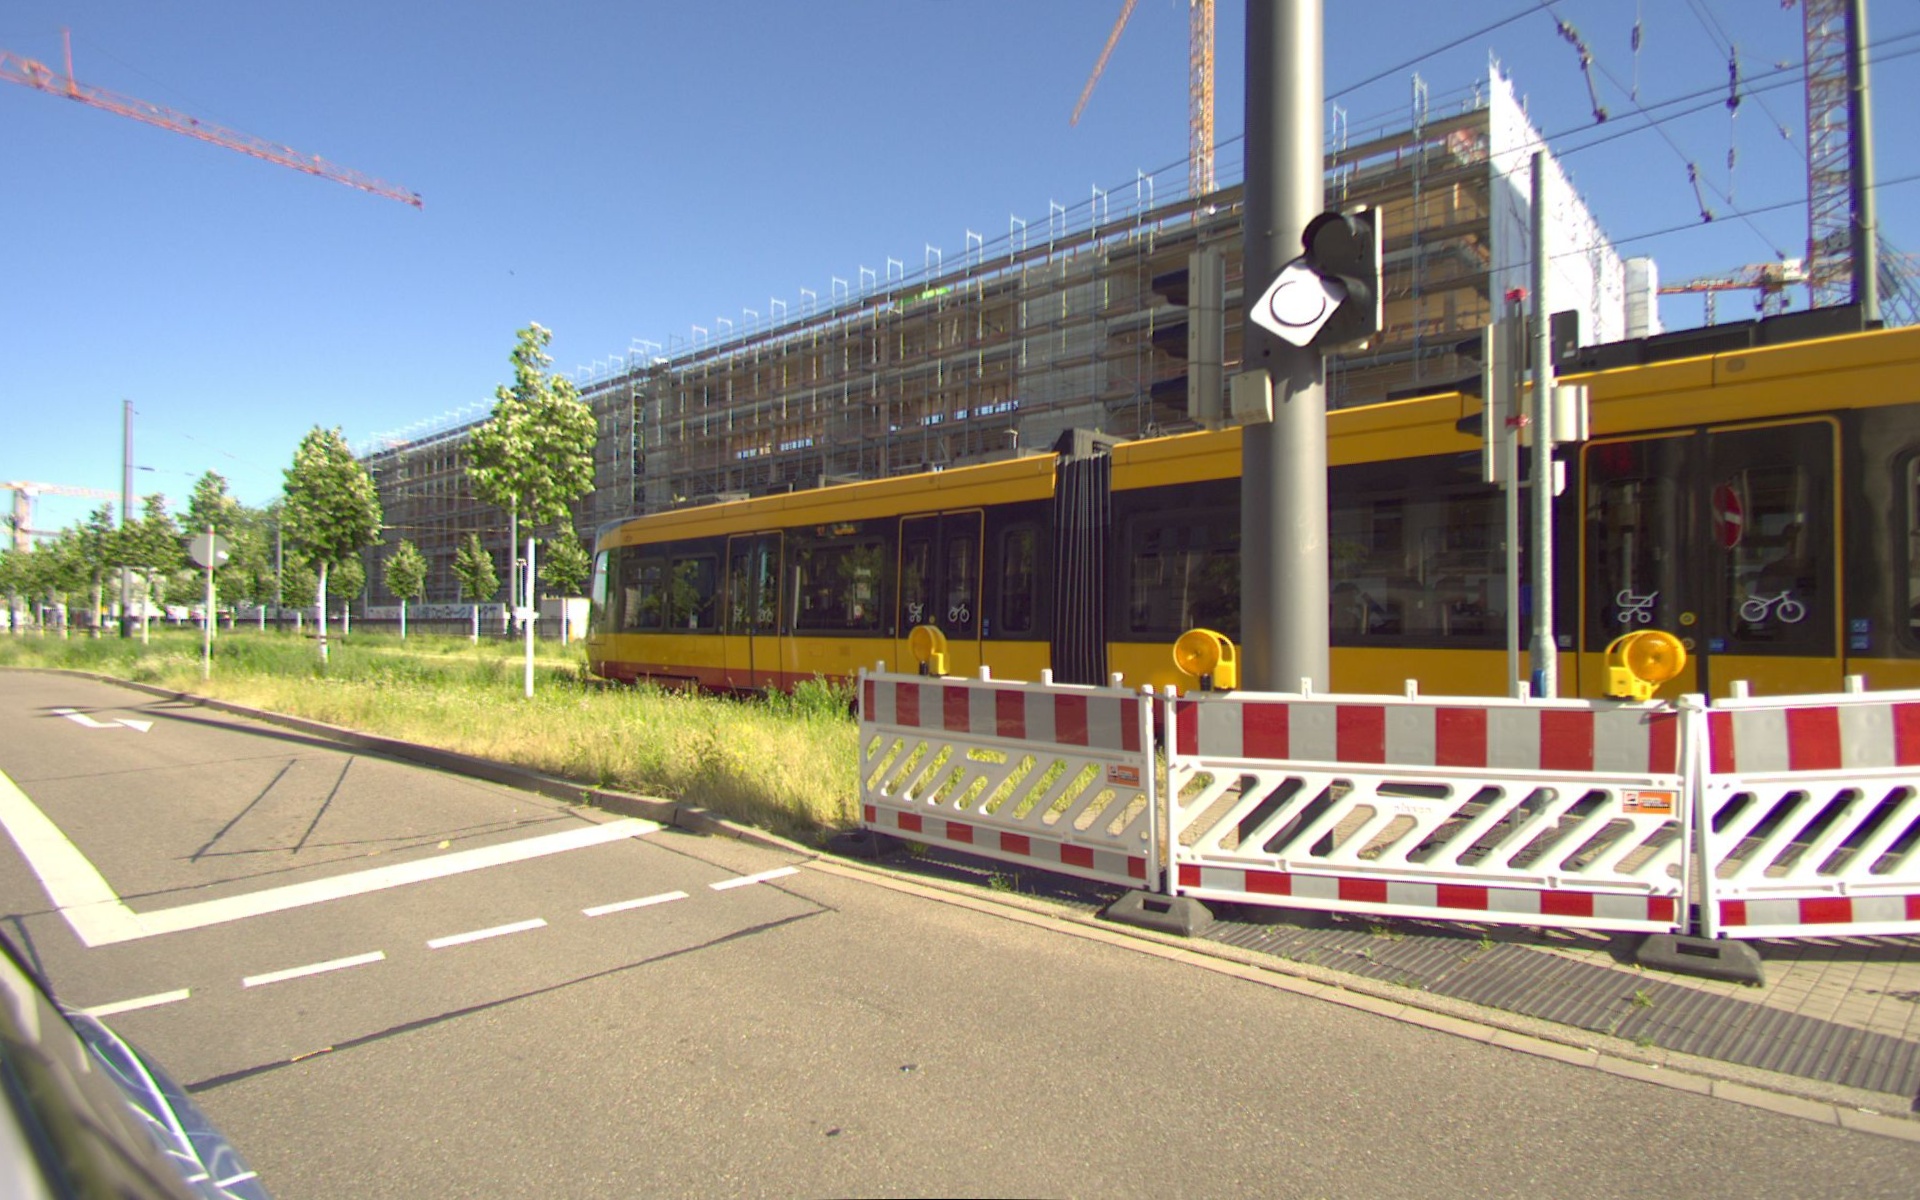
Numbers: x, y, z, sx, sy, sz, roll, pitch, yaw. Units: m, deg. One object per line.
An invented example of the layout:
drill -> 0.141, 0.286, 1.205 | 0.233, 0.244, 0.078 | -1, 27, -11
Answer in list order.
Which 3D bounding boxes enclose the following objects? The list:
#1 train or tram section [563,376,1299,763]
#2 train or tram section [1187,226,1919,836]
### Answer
train or tram section -> -2.004, -0.234, 15.392 | 14.159, 3.697, 1.971 | -1, 0, 45
train or tram section -> 6.892, -0.428, 6.443 | 1.971, 3.697, 11.322 | 0, 0, -45
